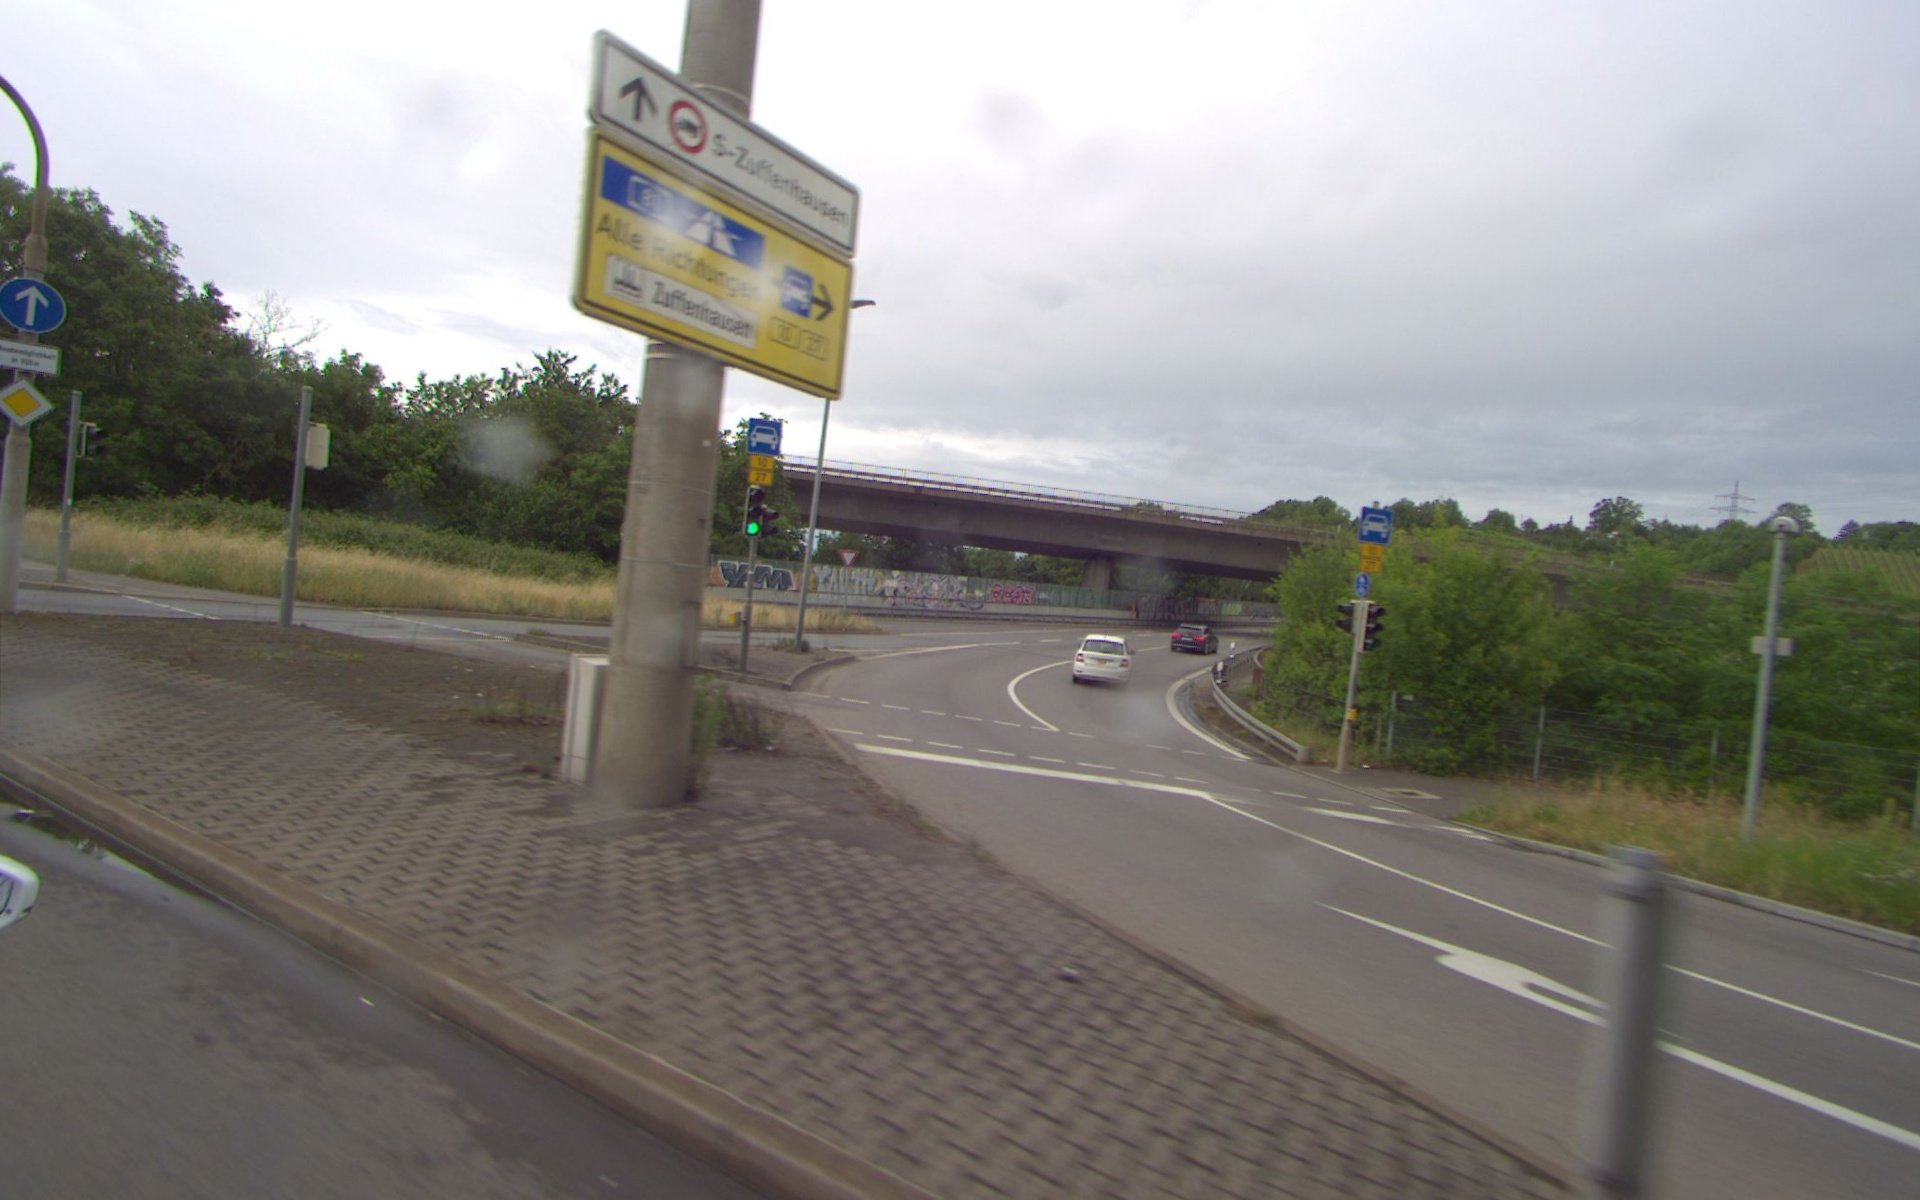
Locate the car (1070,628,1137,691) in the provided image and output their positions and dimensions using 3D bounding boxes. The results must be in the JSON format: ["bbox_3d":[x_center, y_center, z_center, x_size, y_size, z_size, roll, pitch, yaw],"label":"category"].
[{"bbox_3d":[4.330,1.763,30.720,1.719,1.476,3.670,8,1,6],"label":"car"}]

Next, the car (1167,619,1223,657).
[{"bbox_3d":[11.960,1.932,51.021,1.877,1.553,3.999,7,-1,24],"label":"car"}]
